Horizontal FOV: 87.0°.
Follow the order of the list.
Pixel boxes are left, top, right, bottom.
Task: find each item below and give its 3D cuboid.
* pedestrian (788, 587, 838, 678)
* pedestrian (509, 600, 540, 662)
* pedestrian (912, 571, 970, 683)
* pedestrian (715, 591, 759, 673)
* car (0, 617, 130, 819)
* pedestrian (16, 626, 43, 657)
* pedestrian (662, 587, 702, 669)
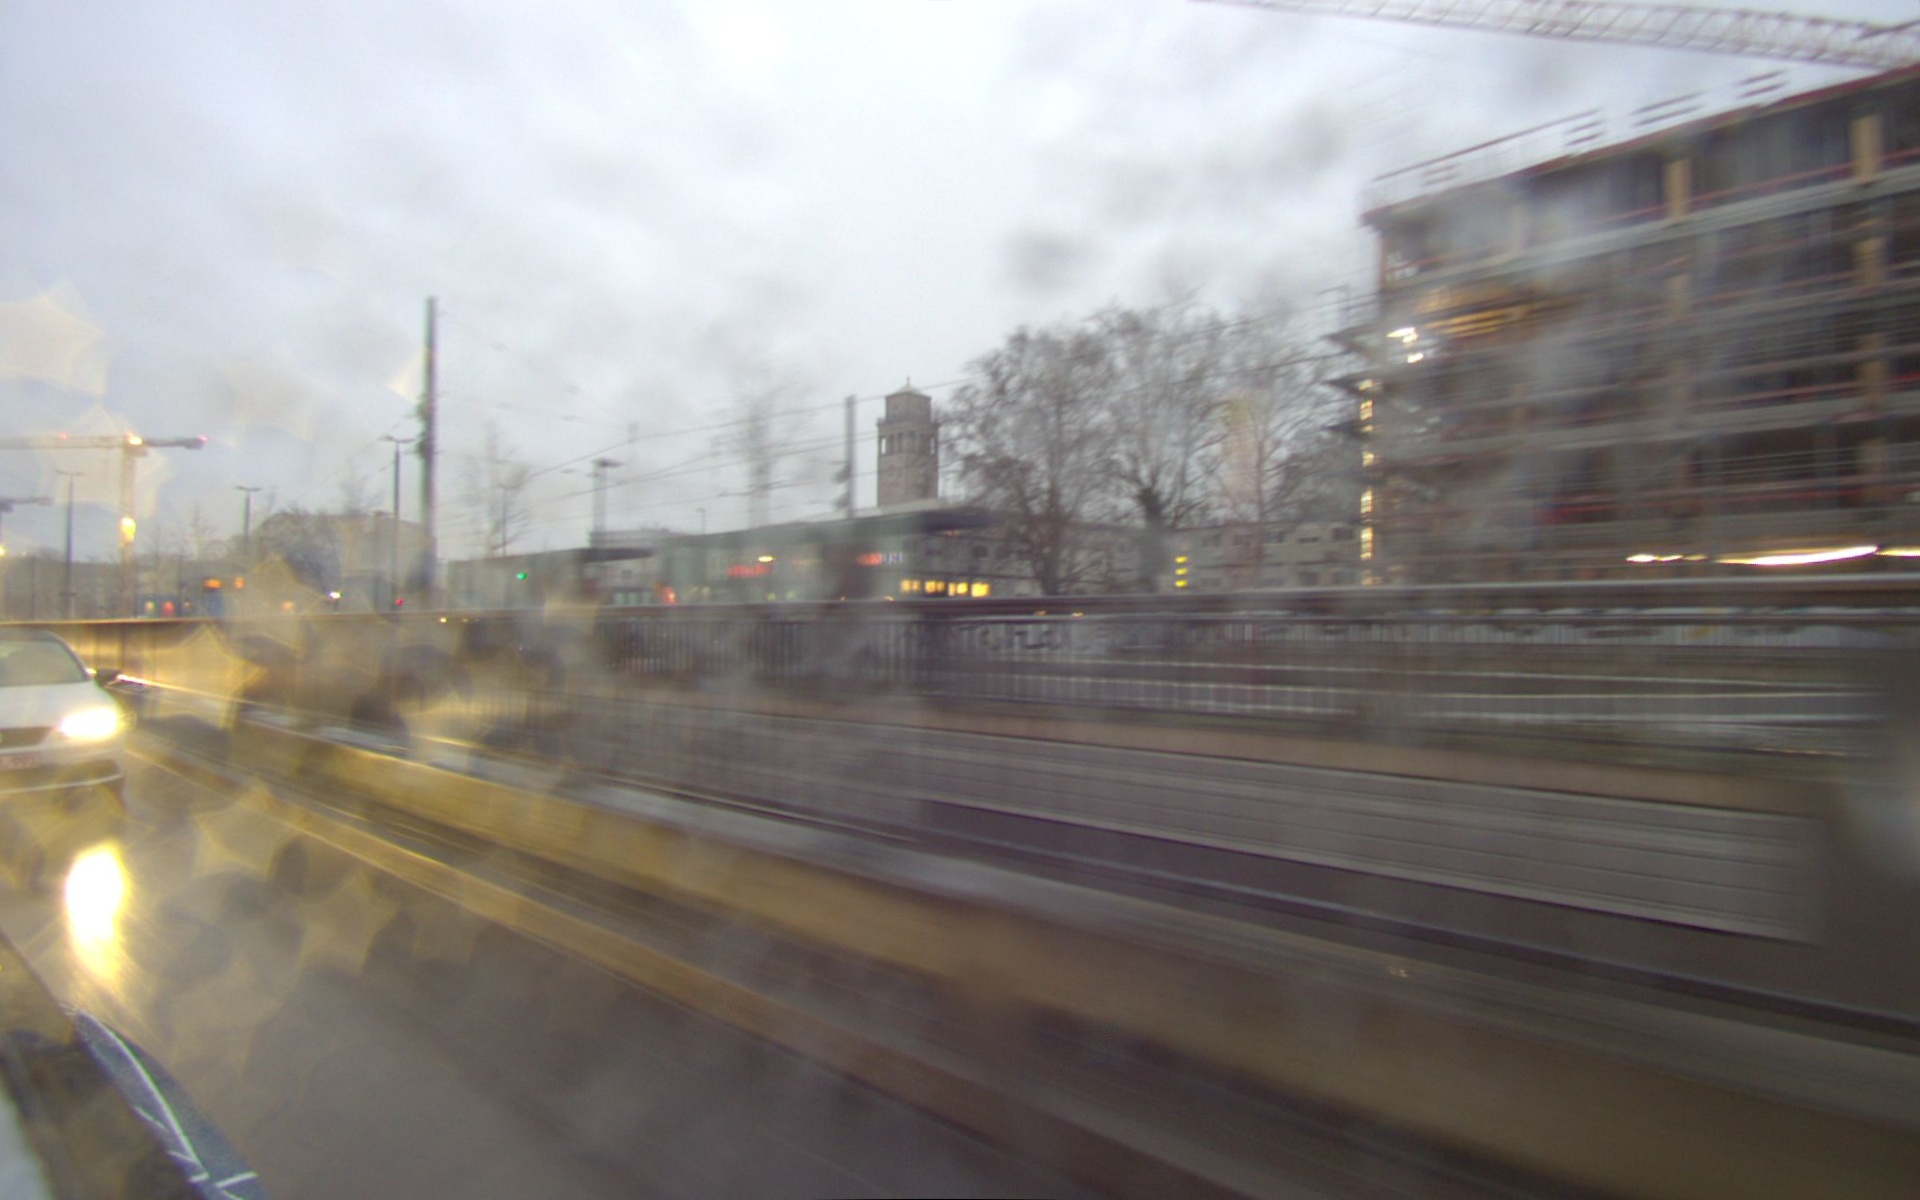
[{"bbox_3d":[-2.581,0.559,17.790,0.576,1.562,0.742,0,-1,-37],"label":"pedestrian"},{"bbox_3d":[-11.170,0.796,25.935,0.576,1.562,0.742,0,-1,-37],"label":"pedestrian"},{"bbox_3d":[-0.309,0.426,16.019,0.576,1.714,0.742,0,-1,-37],"label":"pedestrian"},{"bbox_3d":[-4.360,0.613,19.789,0.576,1.562,0.742,0,-1,-37],"label":"pedestrian"},{"bbox_3d":[-8.703,0.919,8.846,4.140,1.484,1.789,-2,-1,44],"label":"car"},{"bbox_3d":[-52.516,2.339,57.119,0.758,1.727,0.856,-1,-1,15],"label":"pedestrian"},{"bbox_3d":[-5.920,0.585,21.562,0.576,1.714,0.742,0,-1,-37],"label":"pedestrian"}]
